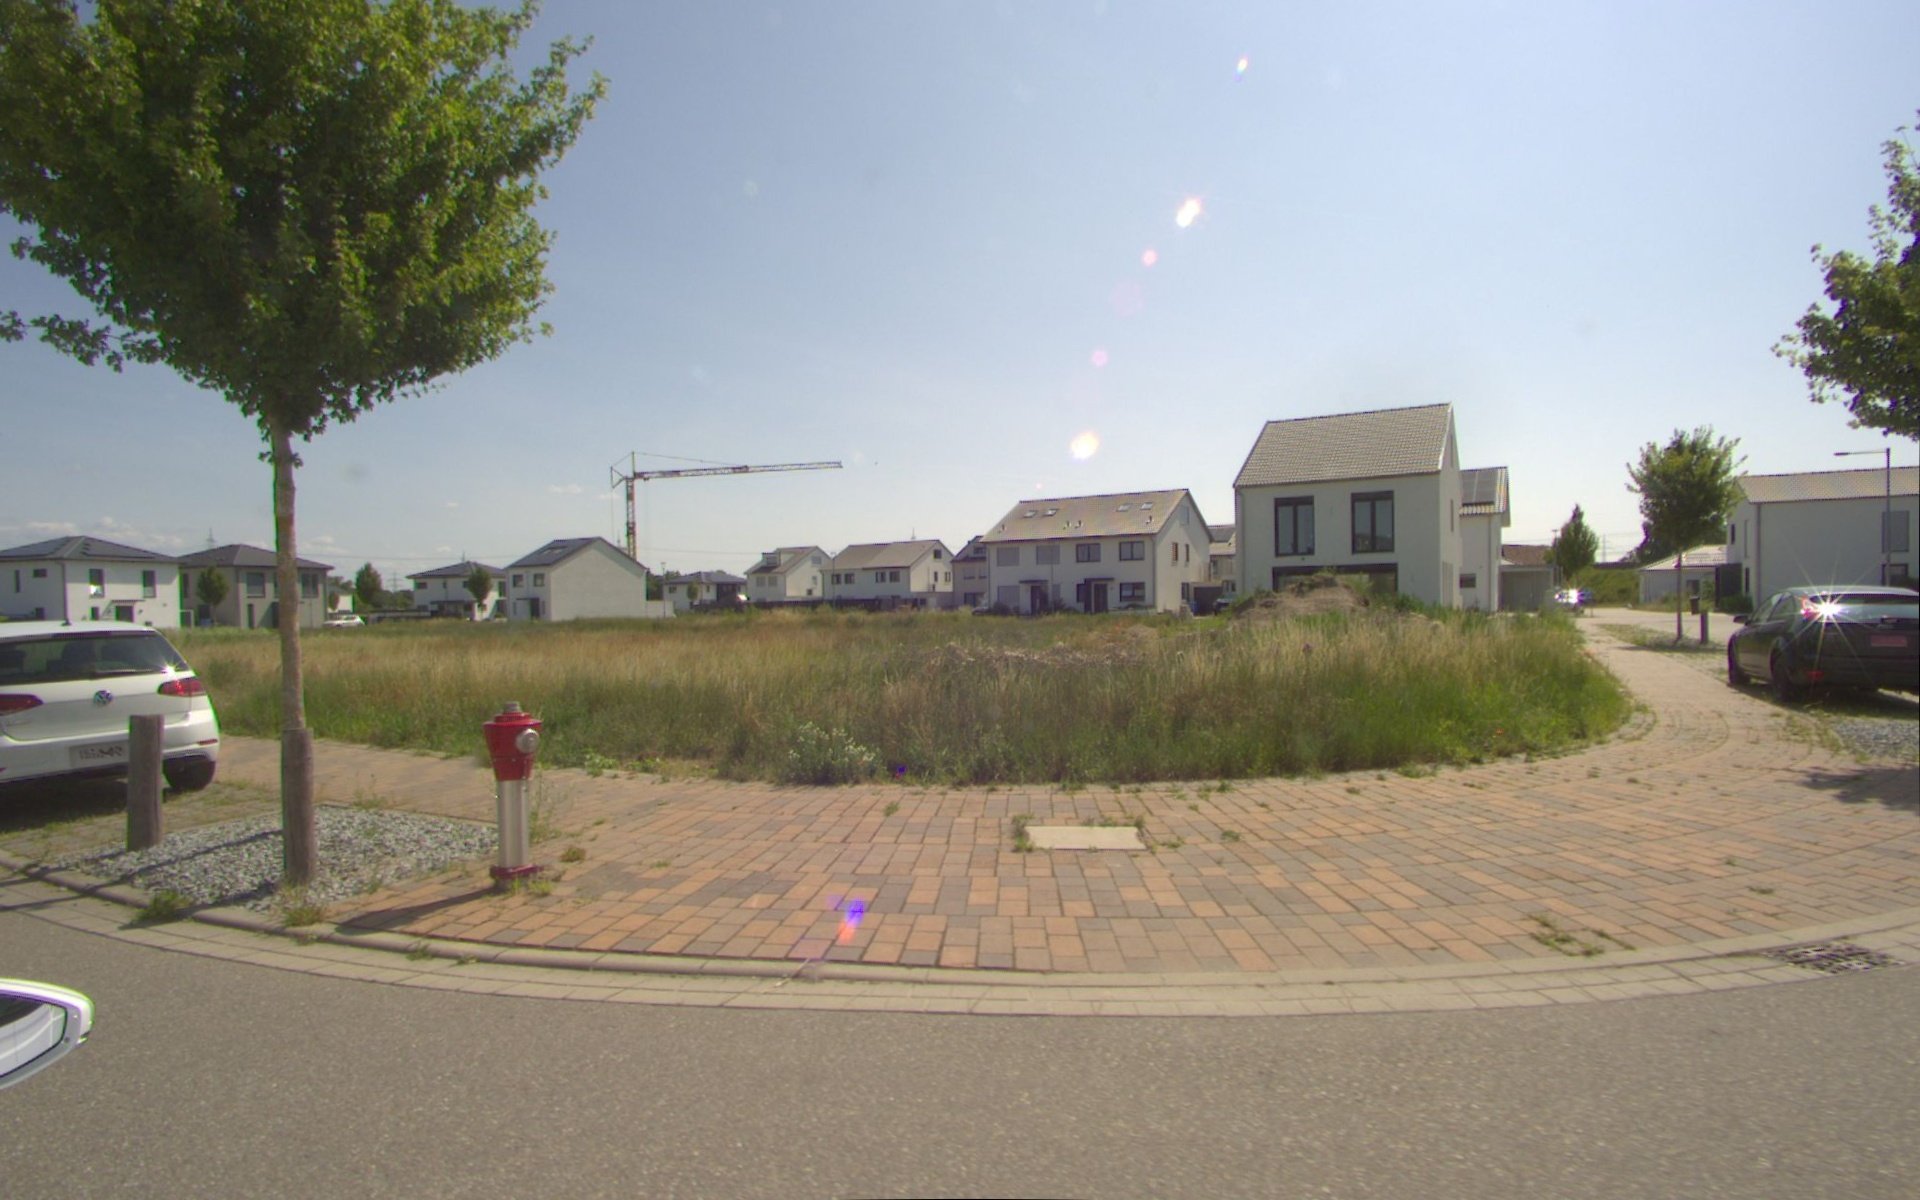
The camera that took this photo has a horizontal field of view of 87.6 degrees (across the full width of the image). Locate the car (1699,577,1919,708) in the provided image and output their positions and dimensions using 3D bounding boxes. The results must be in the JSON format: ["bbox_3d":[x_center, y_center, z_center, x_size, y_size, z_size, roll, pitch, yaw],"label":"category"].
[{"bbox_3d":[11.718,0.511,13.575,1.819,1.513,4.181,-2,-1,24],"label":"car"}]

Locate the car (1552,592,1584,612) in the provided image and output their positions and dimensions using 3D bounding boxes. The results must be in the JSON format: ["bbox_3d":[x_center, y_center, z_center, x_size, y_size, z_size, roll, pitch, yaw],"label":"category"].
[{"bbox_3d":[45.733,0.129,75.352,1.897,1.439,4.399,-1,0,30],"label":"car"}]

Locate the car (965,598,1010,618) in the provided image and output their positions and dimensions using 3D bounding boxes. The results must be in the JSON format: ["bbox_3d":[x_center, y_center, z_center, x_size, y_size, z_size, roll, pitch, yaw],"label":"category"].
[{"bbox_3d":[2.269,0.659,81.818,1.790,1.595,3.976,-1,0,34],"label":"car"}]

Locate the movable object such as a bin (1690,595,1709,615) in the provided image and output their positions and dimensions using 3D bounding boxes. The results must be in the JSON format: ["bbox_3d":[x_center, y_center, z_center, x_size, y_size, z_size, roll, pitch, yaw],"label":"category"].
[{"bbox_3d":[42.708,0.300,57.835,0.796,1.113,0.668,0,1,32],"label":"movable object such as a bin"}]

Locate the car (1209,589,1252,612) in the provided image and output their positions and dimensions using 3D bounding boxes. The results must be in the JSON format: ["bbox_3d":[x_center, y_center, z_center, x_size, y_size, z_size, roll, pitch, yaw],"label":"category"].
[{"bbox_3d":[19.124,0.040,70.690,1.790,1.532,3.976,-1,0,34],"label":"car"}]

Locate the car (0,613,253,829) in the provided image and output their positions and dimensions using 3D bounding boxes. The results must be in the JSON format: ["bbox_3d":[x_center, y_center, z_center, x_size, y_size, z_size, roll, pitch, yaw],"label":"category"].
[{"bbox_3d":[-8.138,0.877,8.671,4.105,1.439,1.771,0,2,32],"label":"car"}]
